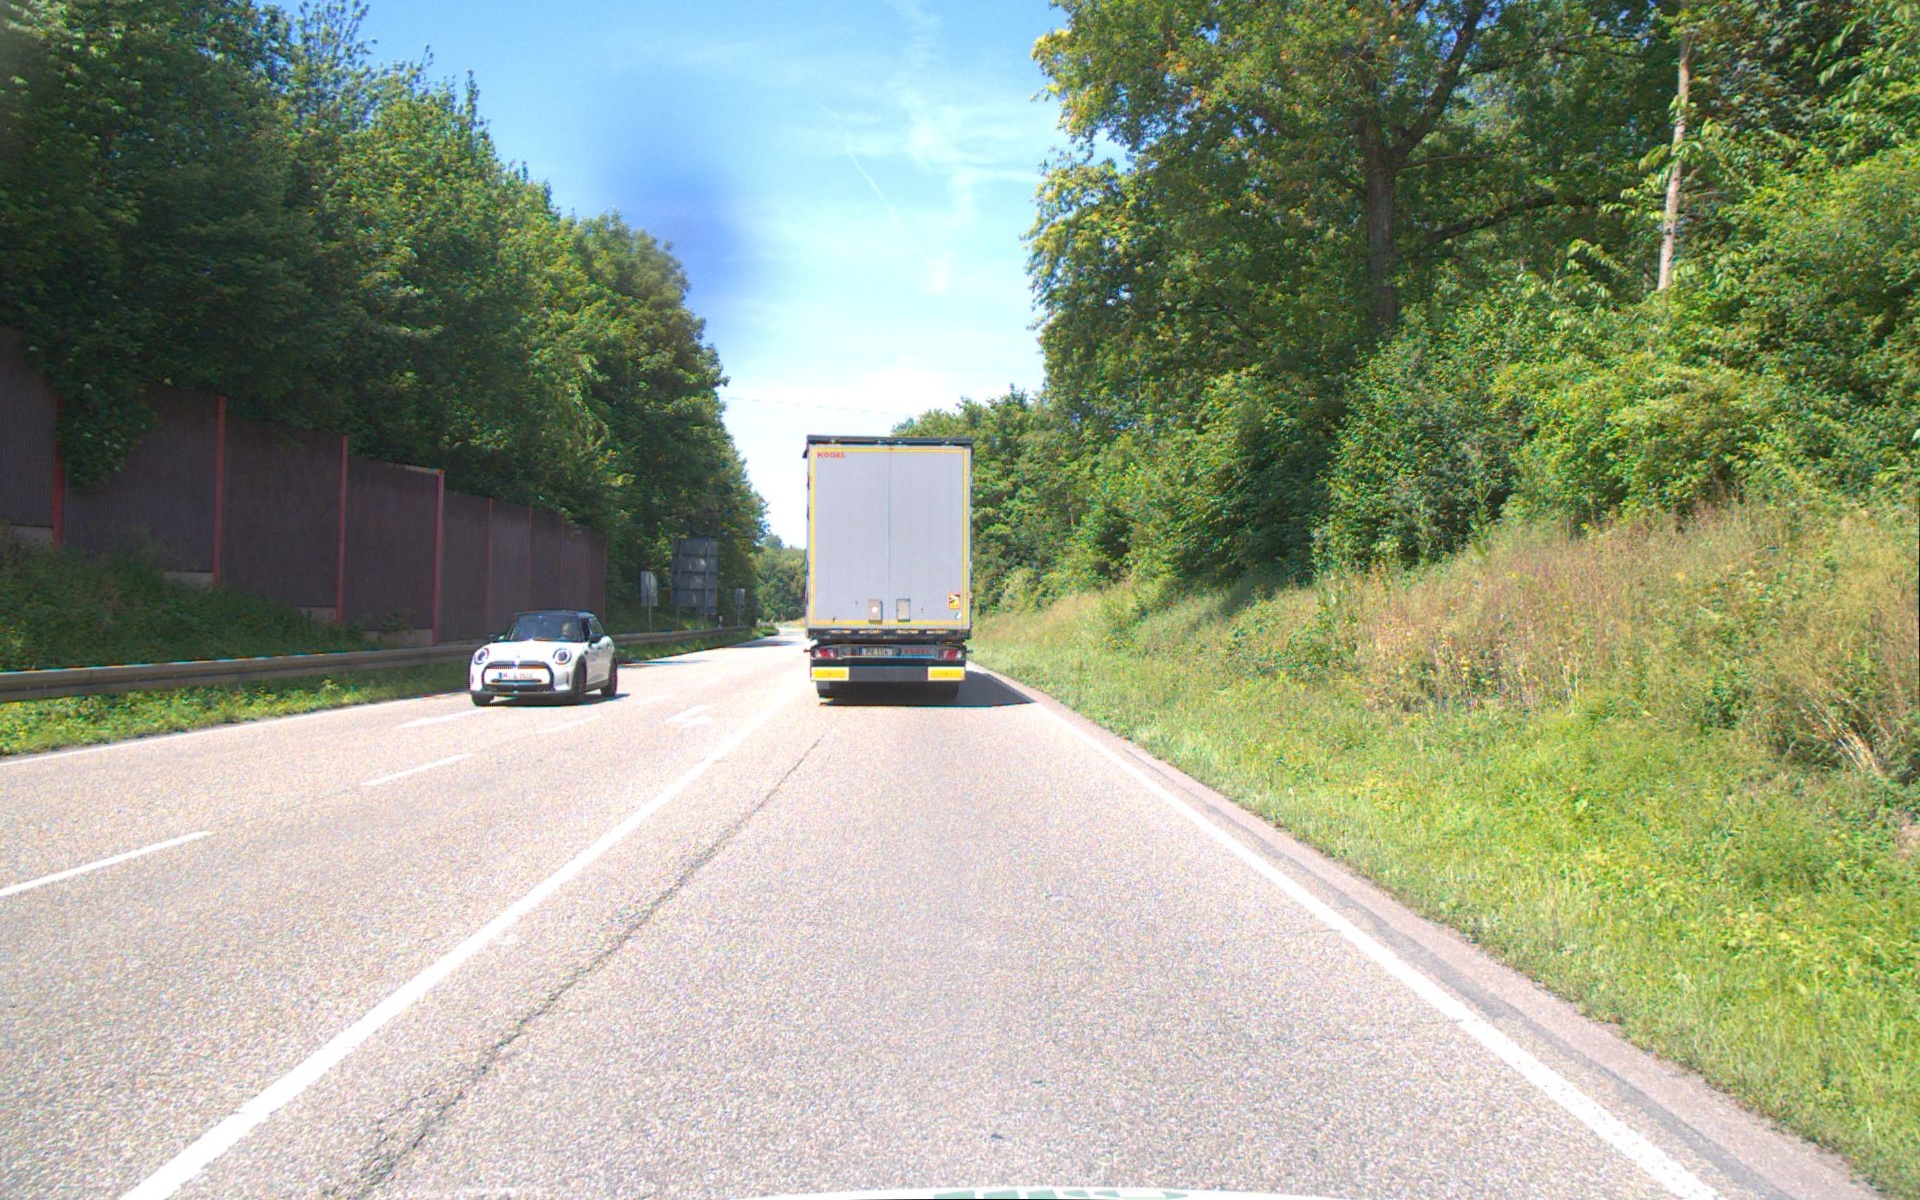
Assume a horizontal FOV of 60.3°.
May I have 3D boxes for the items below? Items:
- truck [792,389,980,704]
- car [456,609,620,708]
[{"bbox_3d":[-1.218,-0.822,28.099,2.766,4.684,6.662,1,0,-2],"label":"truck"},{"bbox_3d":[-6.736,0.889,26.781,1.769,1.460,3.870,0,0,-2],"label":"car"}]
